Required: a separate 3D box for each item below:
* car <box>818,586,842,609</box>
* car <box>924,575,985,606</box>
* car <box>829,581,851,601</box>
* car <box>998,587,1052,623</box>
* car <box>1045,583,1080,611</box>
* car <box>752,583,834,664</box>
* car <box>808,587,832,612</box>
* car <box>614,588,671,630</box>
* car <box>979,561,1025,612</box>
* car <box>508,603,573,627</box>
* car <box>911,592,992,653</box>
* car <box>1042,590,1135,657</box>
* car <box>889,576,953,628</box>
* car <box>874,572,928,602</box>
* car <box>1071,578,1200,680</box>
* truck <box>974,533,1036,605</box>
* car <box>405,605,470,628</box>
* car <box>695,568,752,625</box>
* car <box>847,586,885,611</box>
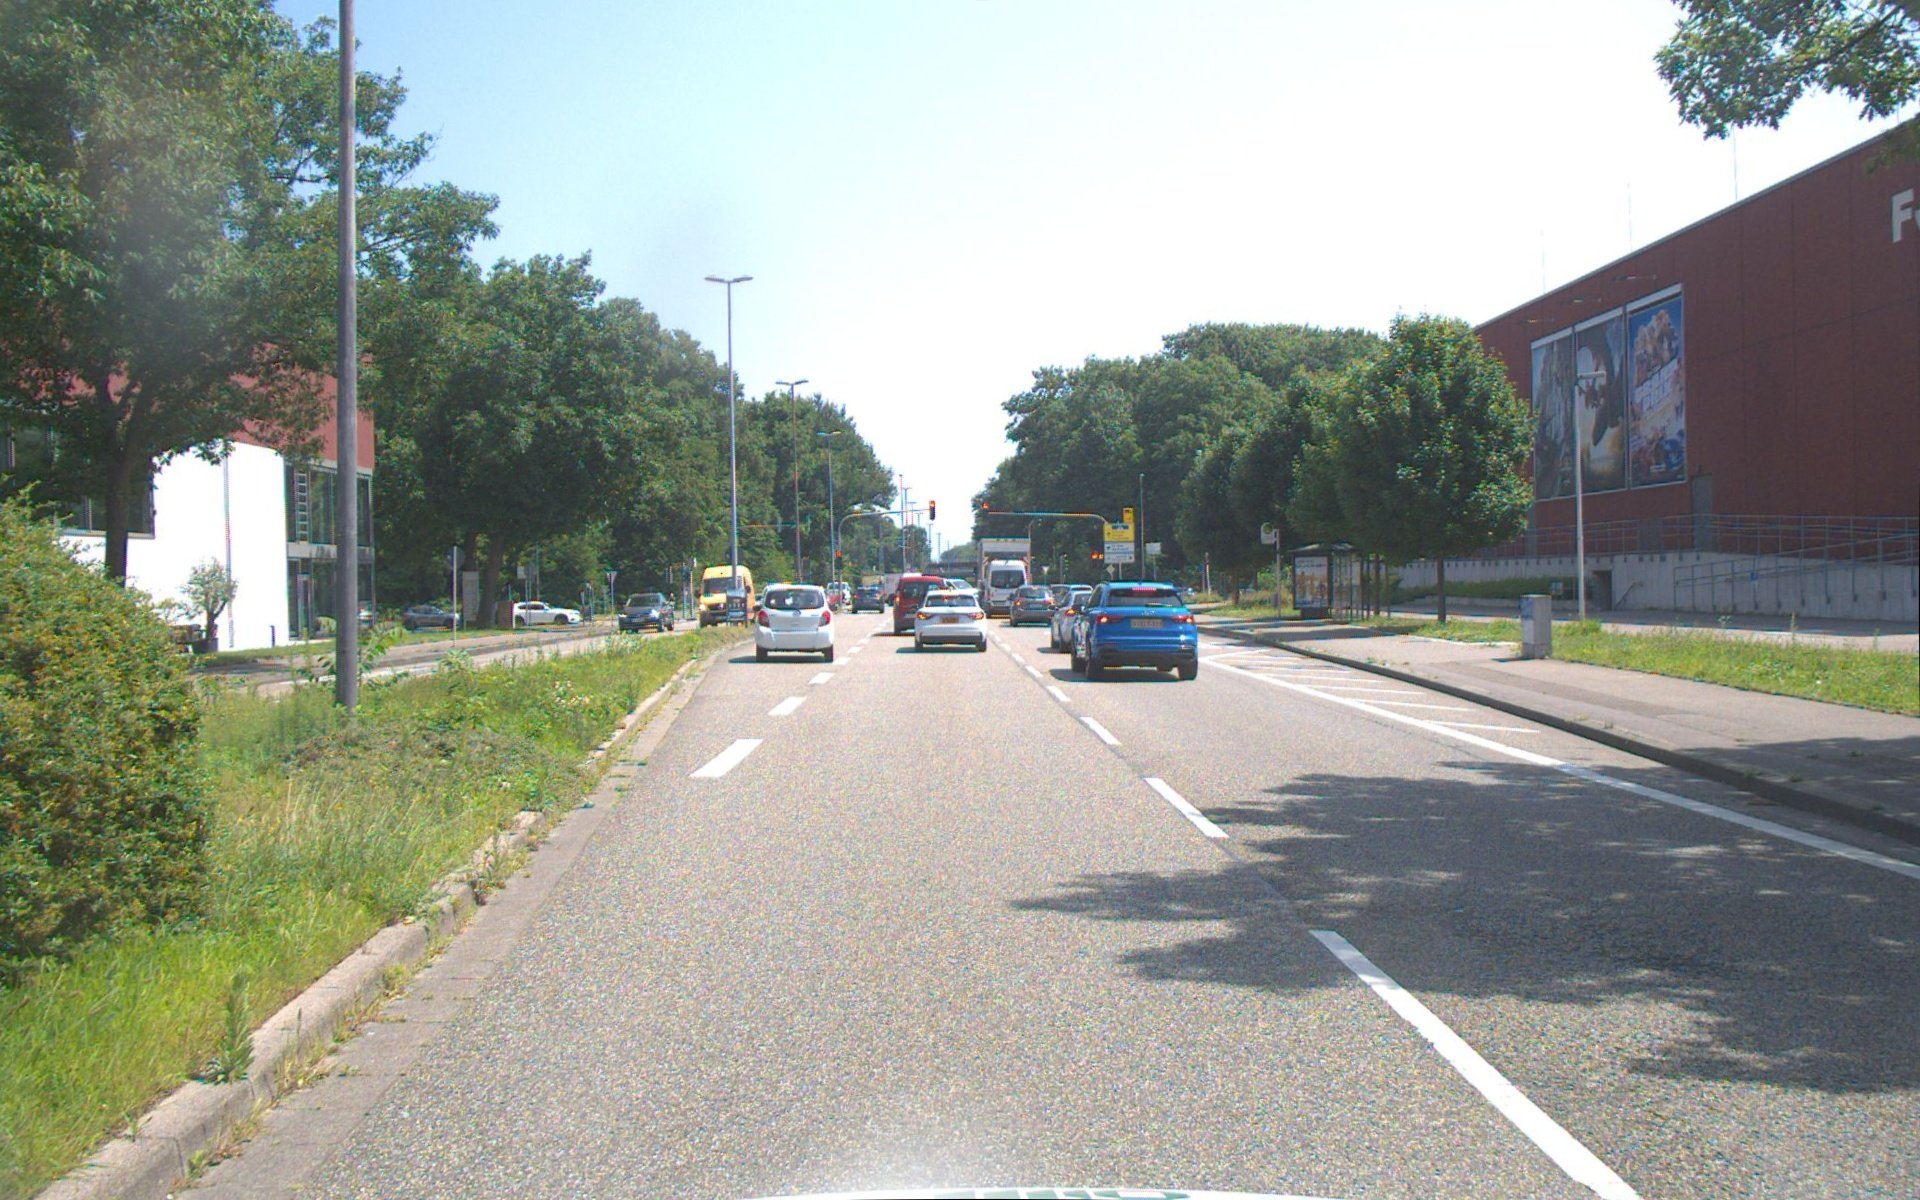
[{"bbox_3d":[-7.818,-0.168,99.373,1.341,1.331,2.691,-2,1,-4],"label":"car"},{"bbox_3d":[-0.422,-0.667,115.760,3.927,2.049,1.989,-1,1,41],"label":"car"},{"bbox_3d":[-10.299,-0.769,142.046,1.563,1.610,3.771,-2,1,-1],"label":"car"},{"bbox_3d":[2.435,0.183,62.832,1.828,1.333,3.999,0,0,-1],"label":"car"},{"bbox_3d":[5.798,-0.179,93.905,1.600,1.489,3.999,-1,1,-1],"label":"car"},{"bbox_3d":[-3.452,0.466,34.448,1.606,1.579,3.321,-1,0,-5],"label":"car"},{"bbox_3d":[-10.336,-0.046,122.165,1.586,1.814,3.114,-2,1,-3],"label":"car"},{"bbox_3d":[-13.418,0.364,70.079,1.676,1.691,3.999,0,0,-1],"label":"car"},{"bbox_3d":[1.947,-0.642,78.184,1.953,2.295,3.999,-1,1,-1],"label":"car"},{"bbox_3d":[-27.474,0.959,108.324,3.912,1.422,1.586,-2,1,-8],"label":"car"},{"bbox_3d":[-0.223,0.508,39.840,1.846,1.378,3.999,0,0,-1],"label":"car"},{"bbox_3d":[3.012,0.537,39.471,1.828,1.499,3.999,0,0,-1],"label":"car"},{"bbox_3d":[-1.256,0.072,51.820,1.760,1.550,3.996,0,0,-5],"label":"car"},{"bbox_3d":[-4.314,-0.923,120.668,1.980,2.049,3.945,-2,1,-38],"label":"car"},{"bbox_3d":[2.941,0.460,28.459,1.771,1.620,4.349,0,0,0],"label":"car"},{"bbox_3d":[2.336,-1.629,88.736,2.872,3.563,9.156,-1,1,-1],"label":"truck"},{"bbox_3d":[-35.100,1.112,111.151,3.912,1.422,1.586,-2,1,-8],"label":"car"},{"bbox_3d":[-9.934,-0.158,69.860,1.743,2.322,4.751,0,0,-1],"label":"car"},{"bbox_3d":[-5.284,-0.114,93.185,1.953,1.310,3.999,-2,1,-1],"label":"car"}]
